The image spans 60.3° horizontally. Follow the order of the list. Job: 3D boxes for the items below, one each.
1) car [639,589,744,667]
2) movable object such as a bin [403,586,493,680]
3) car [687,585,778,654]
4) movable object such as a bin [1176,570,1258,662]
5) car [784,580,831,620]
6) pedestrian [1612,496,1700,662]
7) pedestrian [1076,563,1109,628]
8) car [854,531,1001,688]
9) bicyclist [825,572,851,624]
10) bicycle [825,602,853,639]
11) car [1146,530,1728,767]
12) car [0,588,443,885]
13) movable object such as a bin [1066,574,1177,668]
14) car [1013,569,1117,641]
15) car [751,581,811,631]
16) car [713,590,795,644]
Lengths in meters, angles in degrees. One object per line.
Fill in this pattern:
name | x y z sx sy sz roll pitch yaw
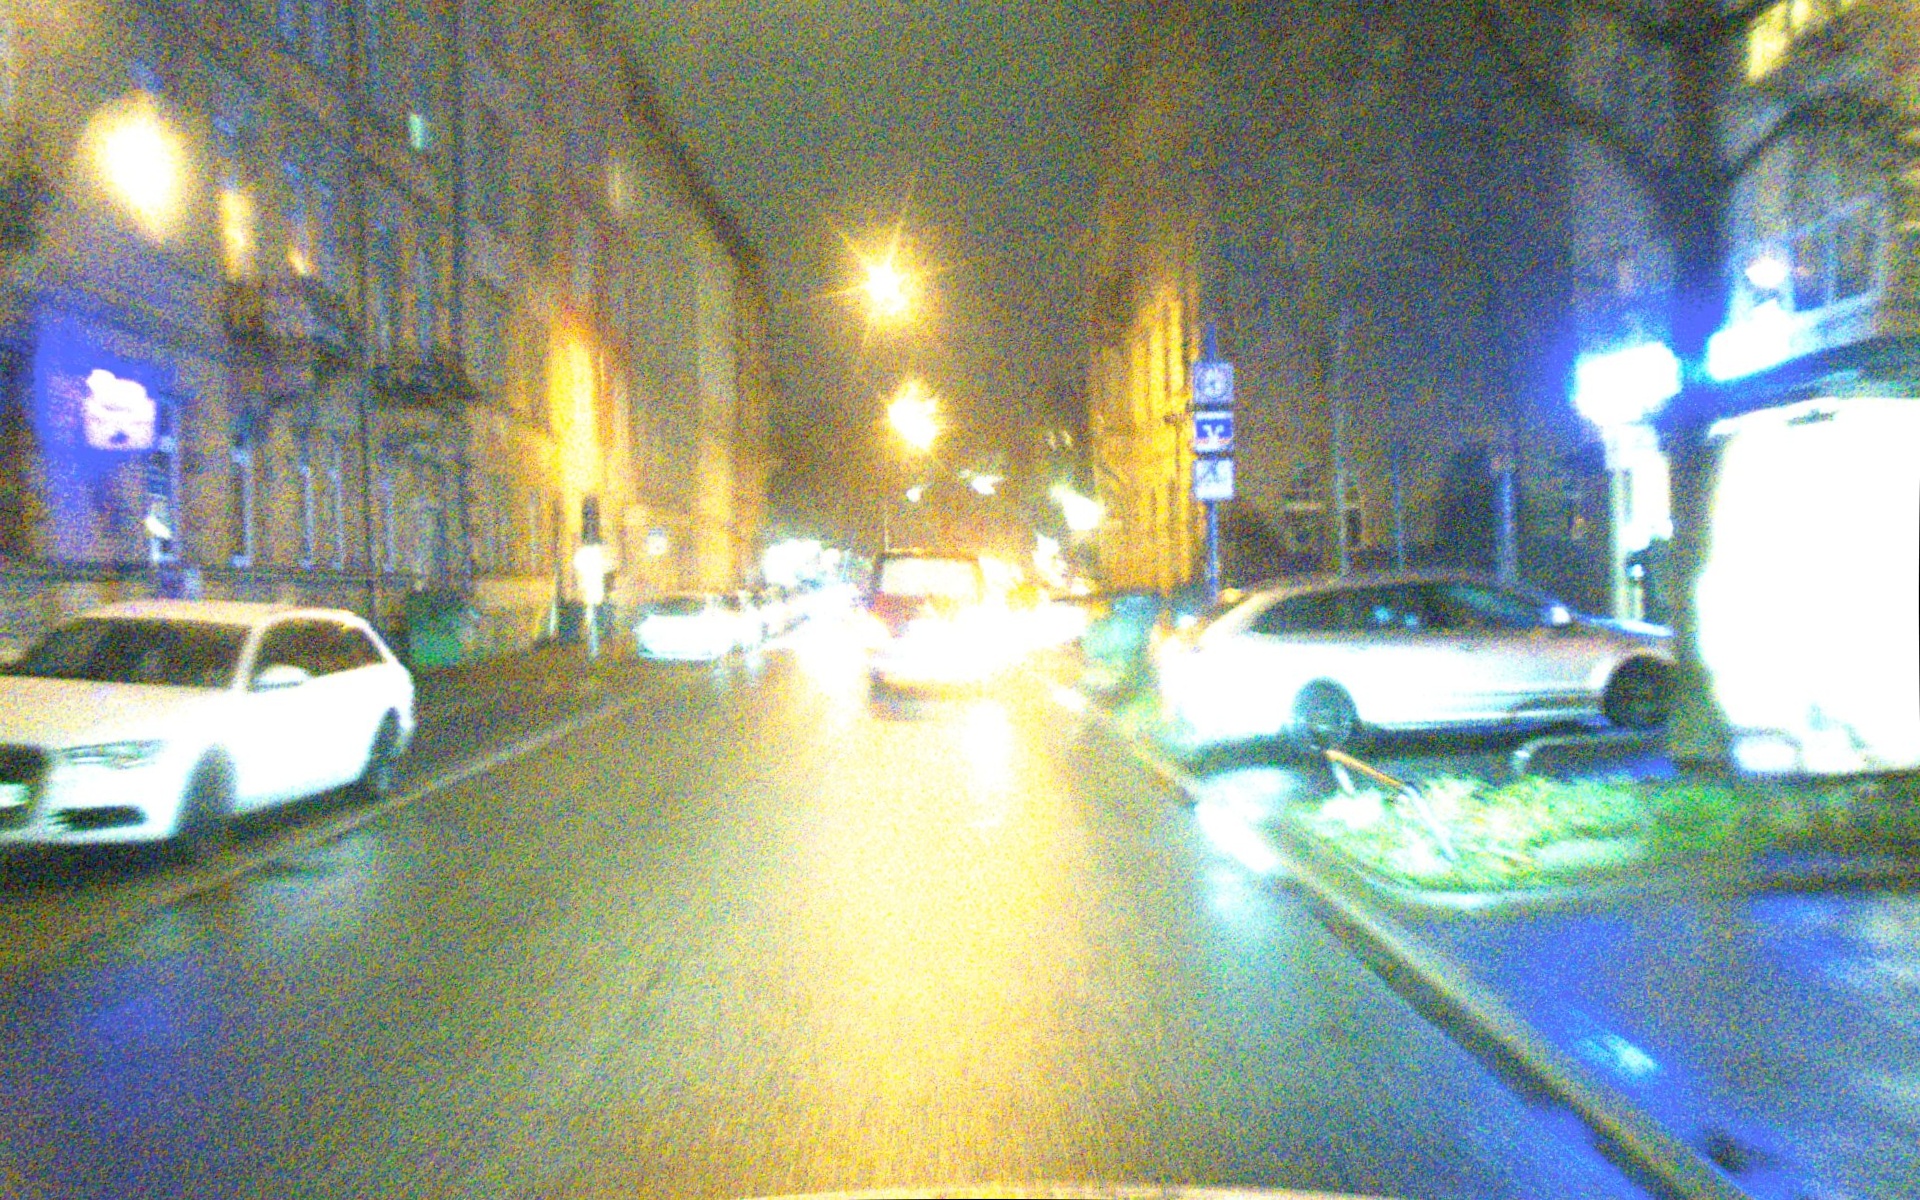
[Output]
car | -5.481 0.540 34.141 1.638 1.517 3.721 0 0 -1
movable object such as a bin | -8.488 0.531 27.475 1.079 1.479 1.378 -2 0 -3
car | -5.603 0.443 41.134 1.738 1.599 4.134 -1 0 -1
movable object such as a bin | 4.197 0.259 27.083 1.281 1.454 1.051 -1 0 8
car | -7.049 -0.019 76.699 1.795 1.747 4.594 -1 1 -1
pedestrian | 7.917 -0.240 18.827 0.688 1.819 0.624 -3 1 2
pedestrian | 3.846 -0.132 48.112 0.844 1.819 1.083 -3 1 2
car | -0.456 0.101 24.653 1.955 2.084 4.694 -1 1 -1
bicyclist | -3.818 -0.059 51.793 0.704 1.583 0.895 -2 0 -1
bicycle | -3.790 0.620 51.862 0.712 1.091 2.348 -2 0 -1
car | 3.975 0.378 14.291 4.422 1.557 1.780 -5 0 -2
car | -5.170 0.721 11.314 1.731 1.509 4.772 2 1 0
movable object such as a bin | 2.613 0.324 26.793 1.327 1.454 1.185 -1 0 -37
car | 2.285 0.089 37.097 1.953 1.489 4.416 -1 0 -1
car | -6.112 0.175 56.840 1.710 1.616 3.765 -1 1 -1
car | -5.749 0.445 46.598 1.785 1.414 4.425 -1 0 -1
